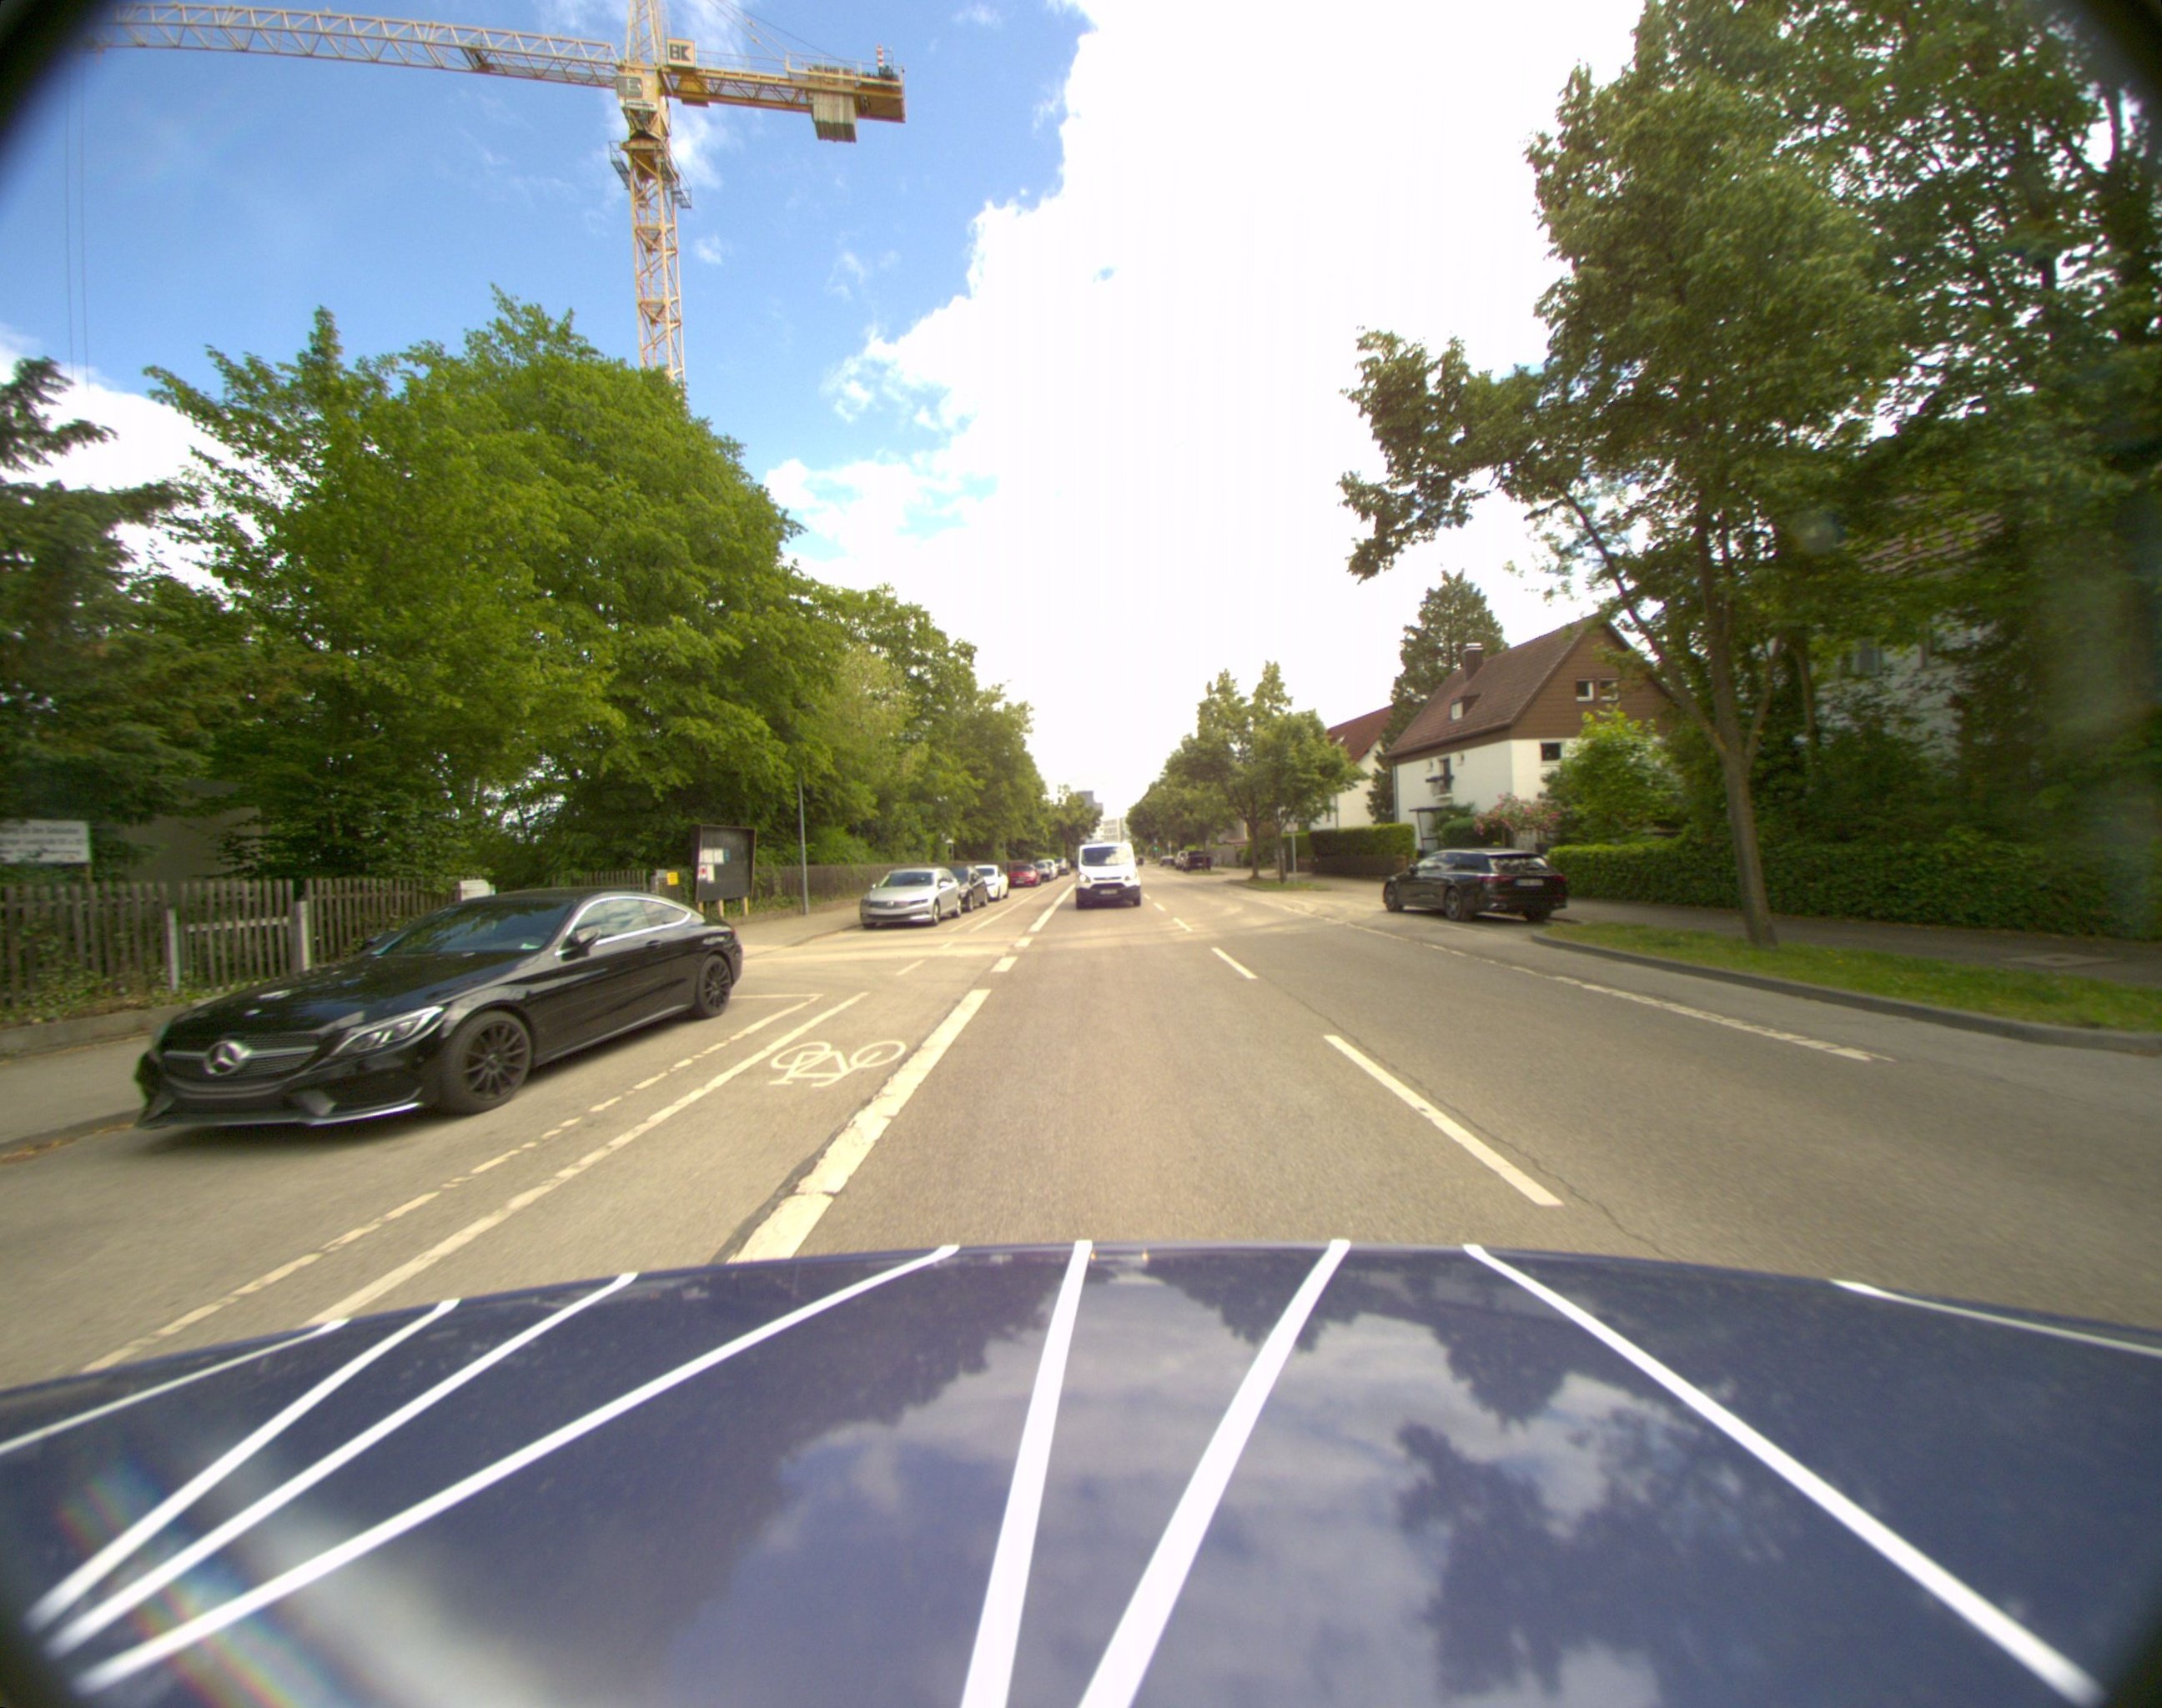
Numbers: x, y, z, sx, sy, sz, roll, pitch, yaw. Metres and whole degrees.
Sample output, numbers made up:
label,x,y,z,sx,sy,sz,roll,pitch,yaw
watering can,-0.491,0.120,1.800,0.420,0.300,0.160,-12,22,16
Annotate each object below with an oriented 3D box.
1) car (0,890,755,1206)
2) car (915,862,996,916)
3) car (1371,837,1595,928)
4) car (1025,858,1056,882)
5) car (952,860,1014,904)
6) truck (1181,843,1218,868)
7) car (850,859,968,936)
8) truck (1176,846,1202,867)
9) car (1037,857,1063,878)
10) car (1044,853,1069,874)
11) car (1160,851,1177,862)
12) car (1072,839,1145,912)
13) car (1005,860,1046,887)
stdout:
label,x,y,z,sx,sy,sz,roll,pitch,yaw
car,-4.734,1.133,6.285,1.868,1.408,4.603,-2,0,3
car,-4.090,1.099,25.471,1.706,1.501,4.538,-3,0,2
car,8.419,0.544,16.594,2.100,1.637,5.038,-1,0,-1
car,-2.907,1.115,55.866,1.820,1.506,4.680,-4,1,2
car,-3.917,1.087,31.036,1.772,1.501,4.031,-2,1,3
truck,10.288,0.110,66.244,2.429,2.031,5.995,-2,0,2
car,-4.380,1.031,20.115,1.866,1.602,4.686,-3,1,1
truck,10.445,0.204,73.539,1.971,1.857,5.665,-1,0,3
car,-2.484,1.071,62.045,1.867,1.580,4.421,-3,0,1
car,-2.328,0.930,73.662,1.998,1.805,4.827,-3,1,3
car,11.758,0.330,102.304,1.750,1.400,4.927,-1,0,2
car,0.926,0.597,24.809,1.998,2.002,5.189,-4,1,3
car,-3.321,1.169,46.572,1.863,1.405,4.444,-4,0,3
